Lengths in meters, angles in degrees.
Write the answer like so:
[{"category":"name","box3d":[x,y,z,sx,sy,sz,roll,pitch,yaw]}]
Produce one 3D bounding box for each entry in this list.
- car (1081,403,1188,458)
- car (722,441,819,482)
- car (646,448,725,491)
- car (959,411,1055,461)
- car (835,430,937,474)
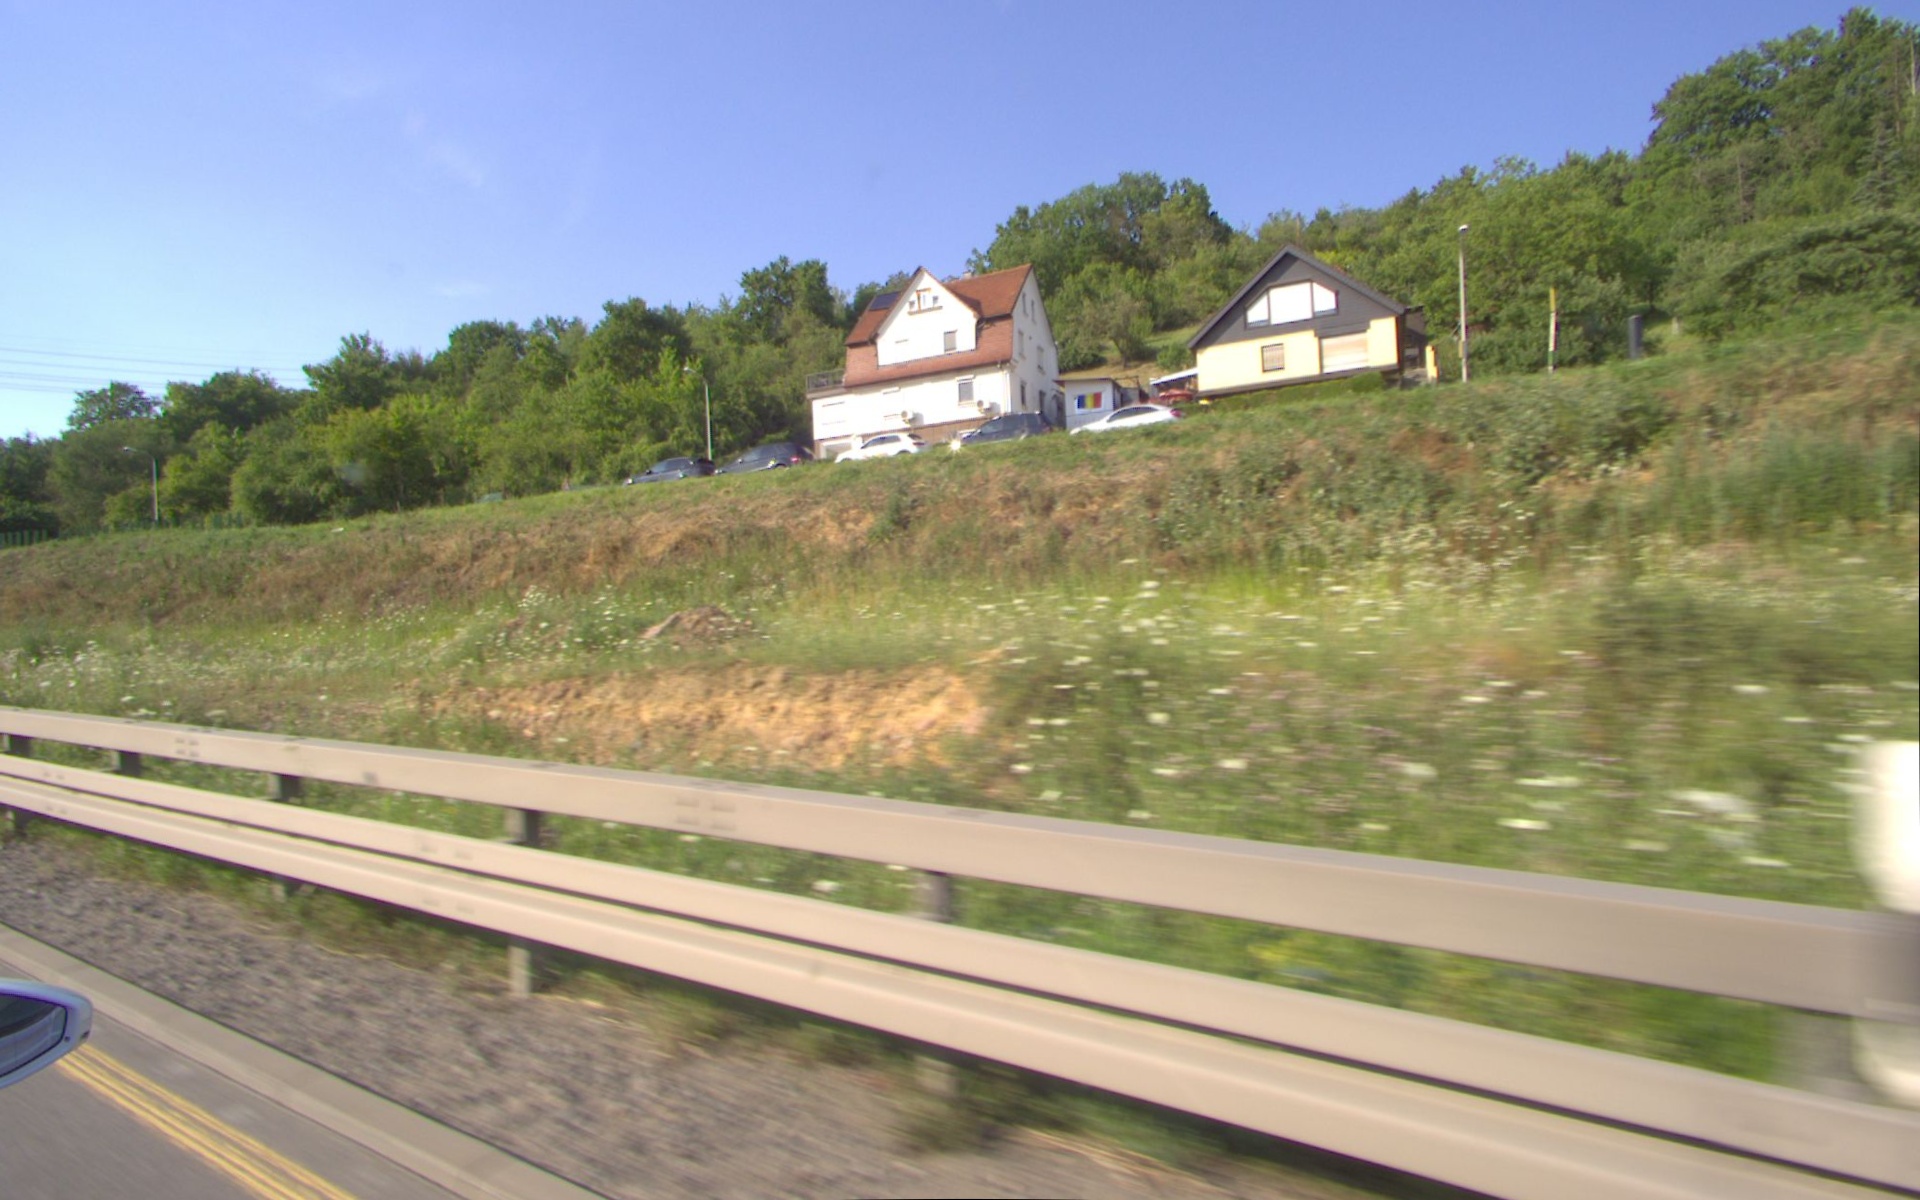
[{"category":"car","box3d":[6.121,-5.913,35.101,3.497,1.389,1.448,-1,-2,22]},{"category":"car","box3d":[-7.904,-5.743,41.717,3.833,1.248,1.346,-1,-2,21]},{"category":"car","box3d":[-11.975,-5.663,43.658,3.179,1.476,1.359,-1,-2,24]},{"category":"car","box3d":[1.747,-5.997,36.807,3.286,1.340,1.346,-1,-2,21]},{"category":"car","box3d":[-2.941,-5.825,39.707,3.834,1.248,1.345,-1,-2,21]}]
